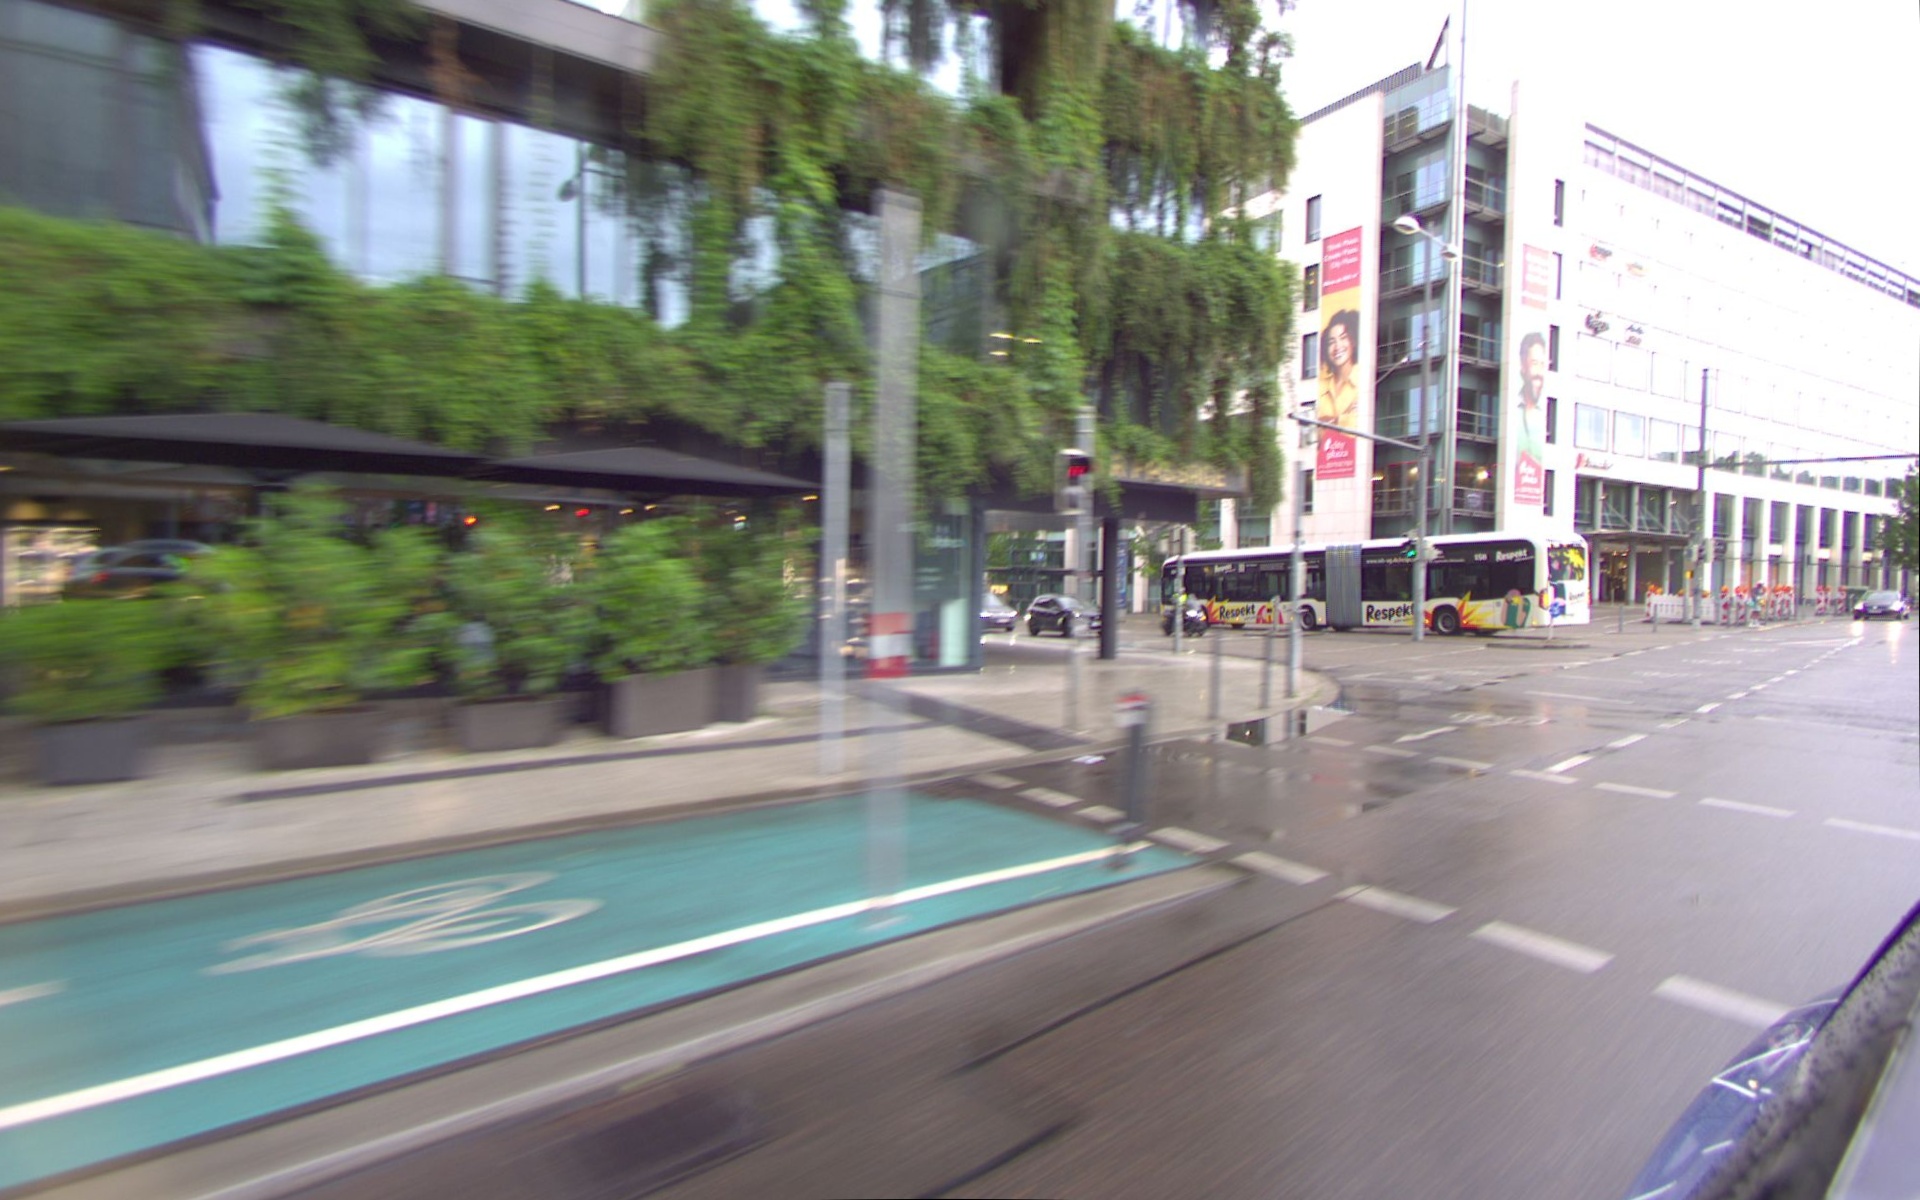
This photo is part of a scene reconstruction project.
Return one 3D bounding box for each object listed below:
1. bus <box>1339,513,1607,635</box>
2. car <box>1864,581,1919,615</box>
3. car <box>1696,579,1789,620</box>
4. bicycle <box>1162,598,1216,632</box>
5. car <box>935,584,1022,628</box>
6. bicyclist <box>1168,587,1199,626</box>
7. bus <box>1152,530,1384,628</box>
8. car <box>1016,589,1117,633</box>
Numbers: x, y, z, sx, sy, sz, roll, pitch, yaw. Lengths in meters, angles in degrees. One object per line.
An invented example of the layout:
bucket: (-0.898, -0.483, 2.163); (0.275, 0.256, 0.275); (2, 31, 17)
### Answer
bus: (17.081, -0.827, 34.463); (2.633, 3.634, 8.098); (0, 0, -29)
car: (45.503, -0.147, 49.149); (4.588, 1.571, 1.738); (-1, 1, -40)
car: (32.428, -0.057, 41.920); (4.582, 1.571, 1.741); (-1, 2, -35)
bicycle: (7.989, 0.497, 35.405); (0.792, 1.150, 2.094); (0, 0, -23)
car: (0.723, 0.236, 43.415); (1.790, 1.781, 4.783); (0, 0, -25)
bicyclist: (7.897, 0.211, 35.718); (0.779, 1.353, 0.744); (0, 0, -22)
bus: (12.477, -0.834, 42.464); (2.633, 3.633, 10.332); (0, 1, -30)
car: (3.836, 0.392, 37.304); (1.790, 1.518, 4.209); (0, 0, -25)
